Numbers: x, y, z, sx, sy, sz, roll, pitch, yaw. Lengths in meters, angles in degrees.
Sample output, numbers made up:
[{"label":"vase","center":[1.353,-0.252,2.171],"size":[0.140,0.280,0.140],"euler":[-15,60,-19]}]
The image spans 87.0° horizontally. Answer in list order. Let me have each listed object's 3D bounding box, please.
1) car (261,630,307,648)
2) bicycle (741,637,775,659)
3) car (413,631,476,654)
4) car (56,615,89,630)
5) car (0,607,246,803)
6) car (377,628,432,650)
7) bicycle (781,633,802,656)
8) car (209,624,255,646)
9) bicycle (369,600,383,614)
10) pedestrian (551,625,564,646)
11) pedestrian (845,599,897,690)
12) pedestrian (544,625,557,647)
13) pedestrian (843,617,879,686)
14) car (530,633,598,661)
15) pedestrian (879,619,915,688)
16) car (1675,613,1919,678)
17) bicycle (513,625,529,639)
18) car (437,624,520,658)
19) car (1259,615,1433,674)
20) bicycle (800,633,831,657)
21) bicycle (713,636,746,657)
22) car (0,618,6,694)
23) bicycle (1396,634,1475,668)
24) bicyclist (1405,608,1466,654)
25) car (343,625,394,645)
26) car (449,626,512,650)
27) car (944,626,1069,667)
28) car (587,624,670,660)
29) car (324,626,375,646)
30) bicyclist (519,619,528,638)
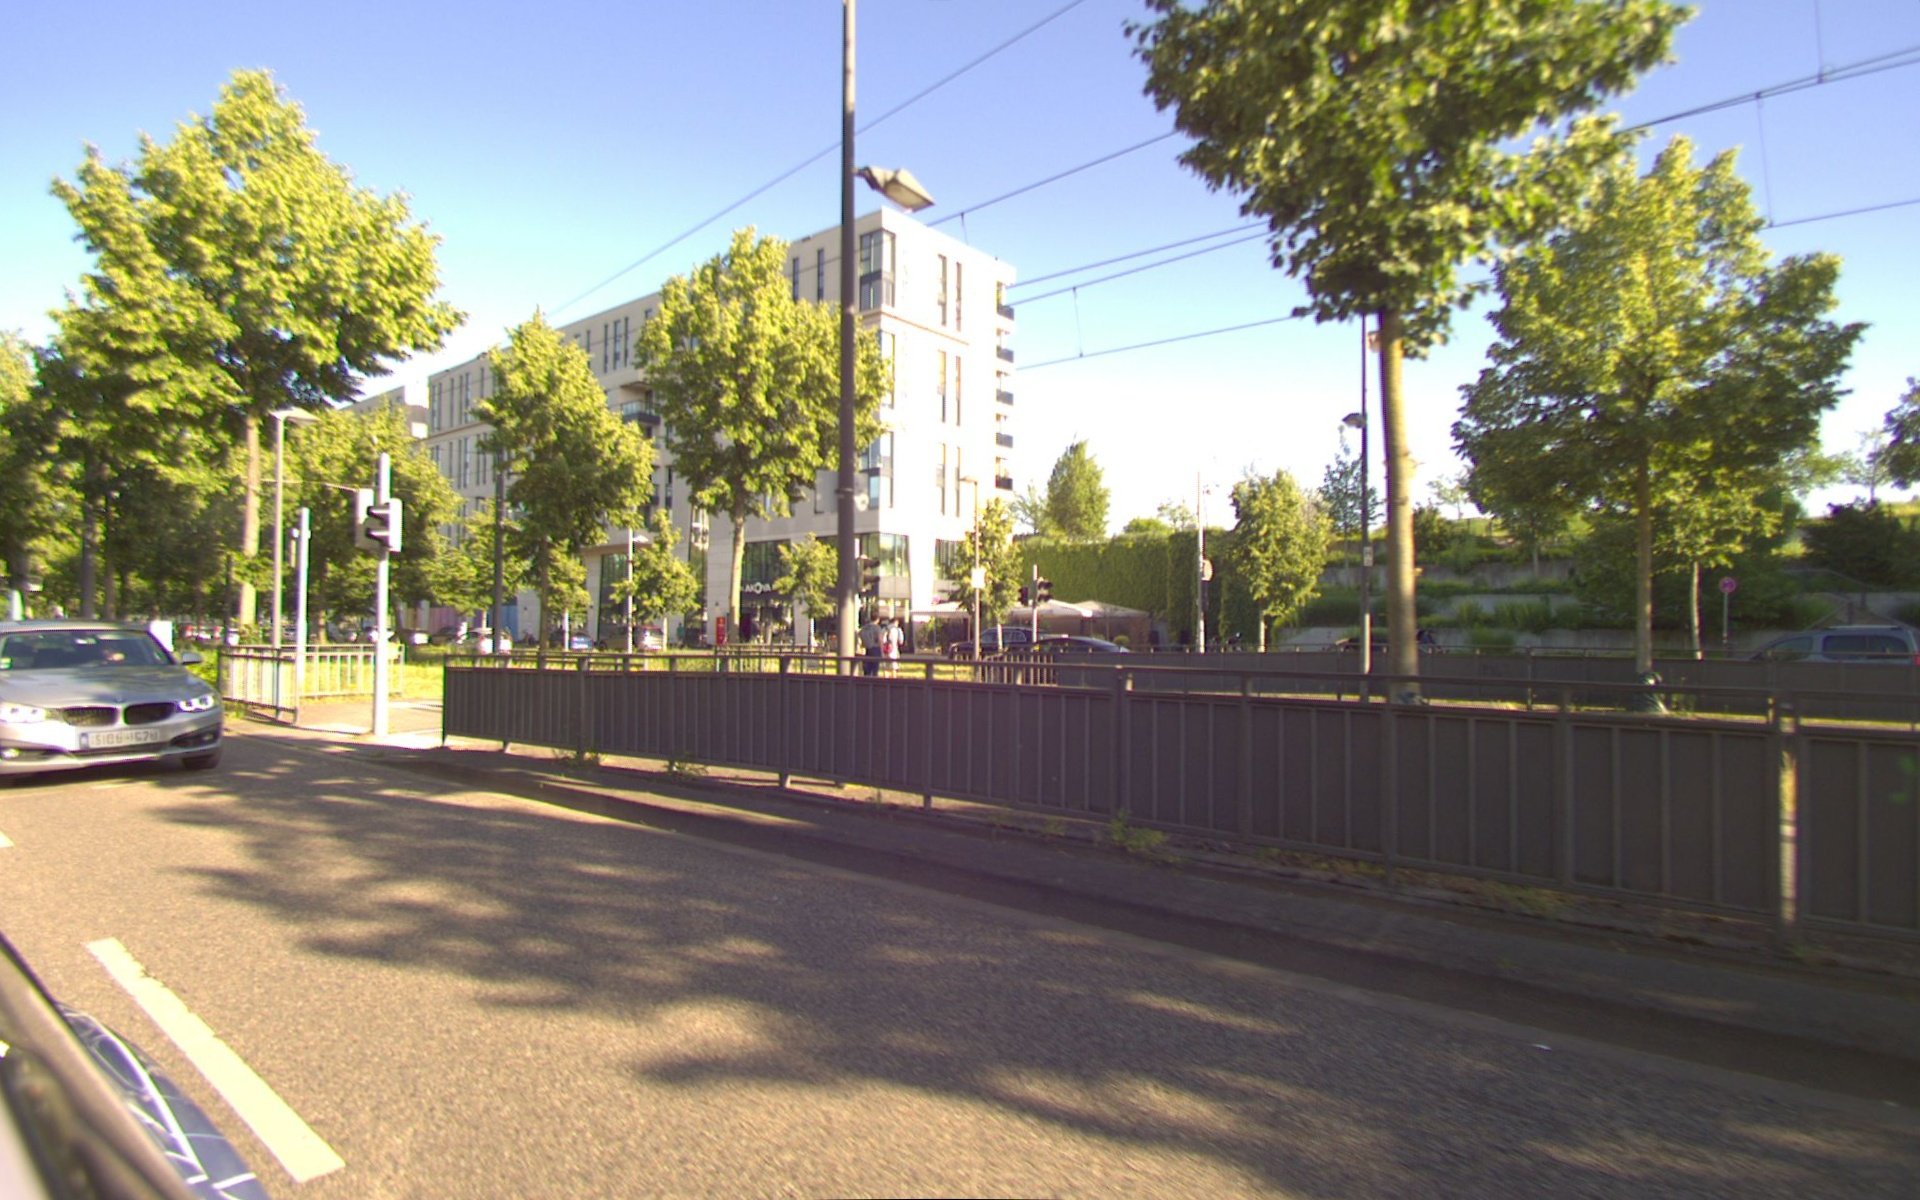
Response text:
[{"label":"car","center":[-61.508,3.530,92.057],"size":[4.918,1.452,1.975],"euler":[-1,0,38]},{"label":"bicycle","center":[-11.859,2.789,59.401],"size":[2.238,1.207,0.726],"euler":[-1,0,39]},{"label":"car","center":[-35.724,2.920,70.115],"size":[4.929,1.452,1.975],"euler":[-1,0,38]},{"label":"car","center":[-88.152,2.226,100.514],"size":[4.456,1.452,1.972],"euler":[-1,0,43]},{"label":"car","center":[-9.045,0.887,10.321],"size":[4.274,1.590,1.863],"euler":[-1,0,40]},{"label":"car","center":[-40.766,2.831,74.232],"size":[4.449,1.452,1.975],"euler":[-1,0,38]},{"label":"bicycle","center":[-9.569,2.518,57.510],"size":[0.579,1.262,1.846],"euler":[-1,0,-28]},{"label":"car","center":[-53.707,2.574,74.611],"size":[4.166,1.583,1.972],"euler":[-1,-2,43]},{"label":"bicycle","center":[-55.318,0.673,95.862],"size":[1.606,1.290,0.592],"euler":[-1,0,38]},{"label":"pedestrian","center":[-31.952,2.816,80.296],"size":[0.718,1.663,0.630],"euler":[-1,0,33]},{"label":"pedestrian","center":[-1.859,0.908,21.155],"size":[0.725,1.850,0.813],"euler":[-1,0,37]},{"label":"pedestrian","center":[-32.123,2.818,79.392],"size":[0.719,1.663,0.629],"euler":[-1,0,38]},{"label":"pedestrian","center":[-2.252,1.148,22.972],"size":[0.589,1.529,0.543],"euler":[-1,0,45]},{"label":"car","center":[-23.383,2.738,59.668],"size":[4.262,1.452,1.938],"euler":[-1,0,40]},{"label":"pedestrian","center":[-1.416,1.198,22.822],"size":[0.603,1.508,0.537],"euler":[-1,0,44]},{"label":"car","center":[19.596,0.999,23.611],"size":[4.609,1.335,1.893],"euler":[-1,0,41]},{"label":"bicycle","center":[-32.161,2.357,74.159],"size":[1.799,1.024,0.375],"euler":[-1,0,42]},{"label":"car","center":[-22.825,1.913,47.918],"size":[3.995,1.497,1.975],"euler":[-1,0,38]},{"label":"car","center":[11.743,1.286,30.966],"size":[4.609,1.633,1.860],"euler":[-1,0,41]},{"label":"bicycle","center":[-8.019,2.481,56.169],"size":[1.838,1.262,0.582],"euler":[-1,0,40]},{"label":"bicycle","center":[-13.917,2.814,61.190],"size":[2.238,1.207,0.726],"euler":[-1,0,39]},{"label":"car","center":[-21.659,1.149,21.346],"size":[3.999,1.534,1.925],"euler":[-1,-1,42]},{"label":"bicycle","center":[15.033,1.593,32.032],"size":[2.187,1.009,0.492],"euler":[-1,0,40]},{"label":"bicyclist","center":[15.041,0.980,32.025],"size":[1.659,1.416,0.484],"euler":[-1,0,40]},{"label":"car","center":[-45.641,2.682,78.045],"size":[4.452,1.452,1.973],"euler":[-1,0,40]},{"label":"car","center":[-31.819,2.471,67.081],"size":[4.449,1.452,1.975],"euler":[-1,0,38]},{"label":"car","center":[1.732,1.727,38.619],"size":[4.608,1.445,1.859],"euler":[-1,-2,41]},{"label":"car","center":[-18.129,2.262,55.203],"size":[4.770,1.785,1.975],"euler":[-1,0,38]},{"label":"car","center":[-49.149,2.884,81.477],"size":[4.772,1.452,1.975],"euler":[-1,0,38]},{"label":"bicyclist","center":[-31.827,2.082,73.749],"size":[0.719,1.313,0.363],"euler":[-1,0,44]}]
